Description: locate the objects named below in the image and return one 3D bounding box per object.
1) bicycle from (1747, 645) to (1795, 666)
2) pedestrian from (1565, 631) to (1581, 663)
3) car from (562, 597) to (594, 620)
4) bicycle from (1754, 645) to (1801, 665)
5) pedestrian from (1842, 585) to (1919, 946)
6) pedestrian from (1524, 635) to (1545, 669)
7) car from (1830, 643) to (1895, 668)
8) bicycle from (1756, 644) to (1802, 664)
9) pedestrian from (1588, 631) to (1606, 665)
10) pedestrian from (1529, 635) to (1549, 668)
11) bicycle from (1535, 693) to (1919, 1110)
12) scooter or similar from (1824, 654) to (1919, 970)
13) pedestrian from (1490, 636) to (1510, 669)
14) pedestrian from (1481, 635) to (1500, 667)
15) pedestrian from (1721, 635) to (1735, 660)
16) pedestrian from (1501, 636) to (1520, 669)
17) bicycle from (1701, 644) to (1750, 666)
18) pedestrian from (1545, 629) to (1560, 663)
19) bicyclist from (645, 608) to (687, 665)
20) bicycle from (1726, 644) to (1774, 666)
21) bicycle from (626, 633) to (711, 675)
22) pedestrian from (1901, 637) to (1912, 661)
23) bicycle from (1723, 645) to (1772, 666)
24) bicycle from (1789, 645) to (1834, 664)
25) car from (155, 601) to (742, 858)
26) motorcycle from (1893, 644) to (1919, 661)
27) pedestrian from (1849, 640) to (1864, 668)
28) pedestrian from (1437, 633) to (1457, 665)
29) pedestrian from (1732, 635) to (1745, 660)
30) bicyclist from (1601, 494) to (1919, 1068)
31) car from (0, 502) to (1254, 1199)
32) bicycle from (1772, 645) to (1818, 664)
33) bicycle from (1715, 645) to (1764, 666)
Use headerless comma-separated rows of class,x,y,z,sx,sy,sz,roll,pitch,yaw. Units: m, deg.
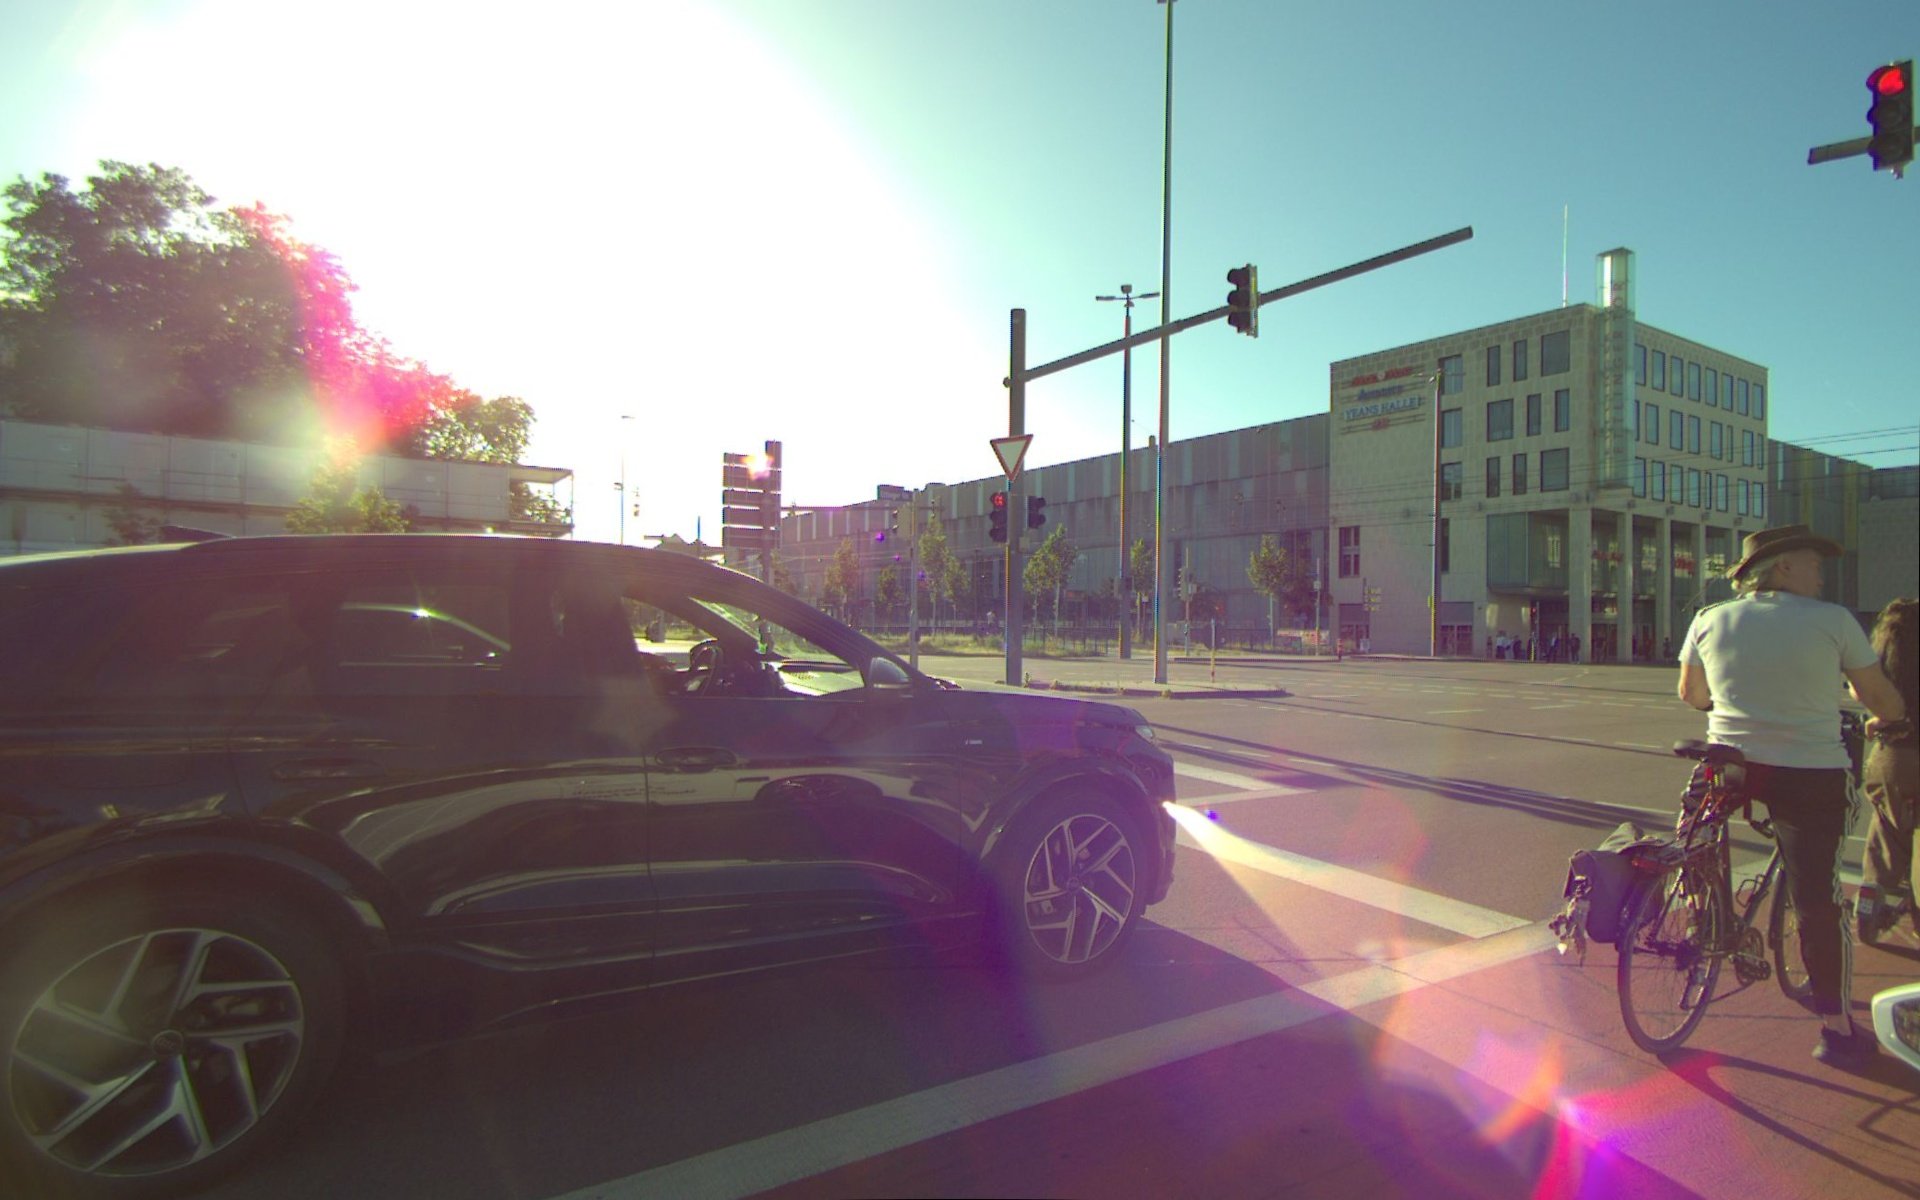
bicycle,51.275,3.476,63.548,0.605,1.238,2.295,1,-1,-31
pedestrian,35.628,2.732,58.422,0.784,1.868,0.862,0,-1,32
car,-32.938,0.728,86.513,1.785,1.908,3.964,2,0,-33
bicycle,52.899,3.532,65.015,0.605,1.238,2.295,1,-1,-31
pedestrian,4.629,0.765,4.805,0.568,1.654,0.543,2,0,-45
pedestrian,33.395,3.009,58.374,0.710,1.910,0.779,2,0,-36
car,49.781,3.065,55.406,3.956,1.359,1.621,2,-4,-32
bicycle,54.279,3.582,66.563,0.605,1.238,2.295,1,-1,-31
pedestrian,35.870,2.696,56.581,0.784,1.868,0.863,0,-1,28
pedestrian,34.404,3.046,59.687,0.710,1.910,0.779,2,0,-36
bicycle,2.875,0.965,3.679,1.810,1.171,0.482,2,0,-31
scooter or similar,4.488,0.929,4.713,1.186,1.311,0.541,2,0,-45
pedestrian,32.160,3.131,59.866,0.710,1.910,0.779,2,0,-36
pedestrian,32.416,3.114,61.384,0.710,1.910,0.779,2,0,-36
pedestrian,52.022,3.215,68.036,0.610,1.702,0.565,1,0,-39
pedestrian,33.250,3.168,60.649,0.780,1.910,0.709,2,0,-37
bicycle,45.760,3.291,60.080,0.605,1.238,2.295,1,-1,-31
pedestrian,34.213,2.648,57.996,0.705,1.910,0.785,2,0,33
bicyclist,-10.802,1.327,36.921,1.078,2.040,0.961,2,0,16
bicycle,48.695,3.389,61.956,0.605,1.238,2.295,1,-1,-31
bicycle,-10.688,1.966,36.863,2.905,1.388,0.970,2,0,16
pedestrian,71.096,3.671,75.452,0.579,1.702,0.516,1,1,-43
bicycle,48.044,3.366,61.335,0.605,1.238,2.295,1,-1,-31
bicycle,58.850,3.735,69.425,0.605,1.238,2.295,1,-1,-31
car,-3.590,0.793,7.495,3.562,1.505,1.485,1,0,-30
motorcycle,70.737,3.908,74.851,0.508,1.223,1.786,1,0,-44
pedestrian,55.587,3.346,62.304,0.639,1.742,0.449,0,-1,37
pedestrian,31.247,3.141,64.449,0.767,2.040,0.876,2,0,-41
pedestrian,52.415,3.200,67.636,0.602,1.702,0.549,1,1,-40
bicyclist,2.865,0.560,3.552,0.856,1.743,0.657,2,0,-30
car,-1.158,0.635,3.870,4.630,1.656,1.760,1,0,-32
bicycle,55.517,3.621,66.826,0.605,1.238,2.295,1,-1,-31
bicycle,46.962,3.329,60.524,0.605,1.238,2.295,1,-1,-31
